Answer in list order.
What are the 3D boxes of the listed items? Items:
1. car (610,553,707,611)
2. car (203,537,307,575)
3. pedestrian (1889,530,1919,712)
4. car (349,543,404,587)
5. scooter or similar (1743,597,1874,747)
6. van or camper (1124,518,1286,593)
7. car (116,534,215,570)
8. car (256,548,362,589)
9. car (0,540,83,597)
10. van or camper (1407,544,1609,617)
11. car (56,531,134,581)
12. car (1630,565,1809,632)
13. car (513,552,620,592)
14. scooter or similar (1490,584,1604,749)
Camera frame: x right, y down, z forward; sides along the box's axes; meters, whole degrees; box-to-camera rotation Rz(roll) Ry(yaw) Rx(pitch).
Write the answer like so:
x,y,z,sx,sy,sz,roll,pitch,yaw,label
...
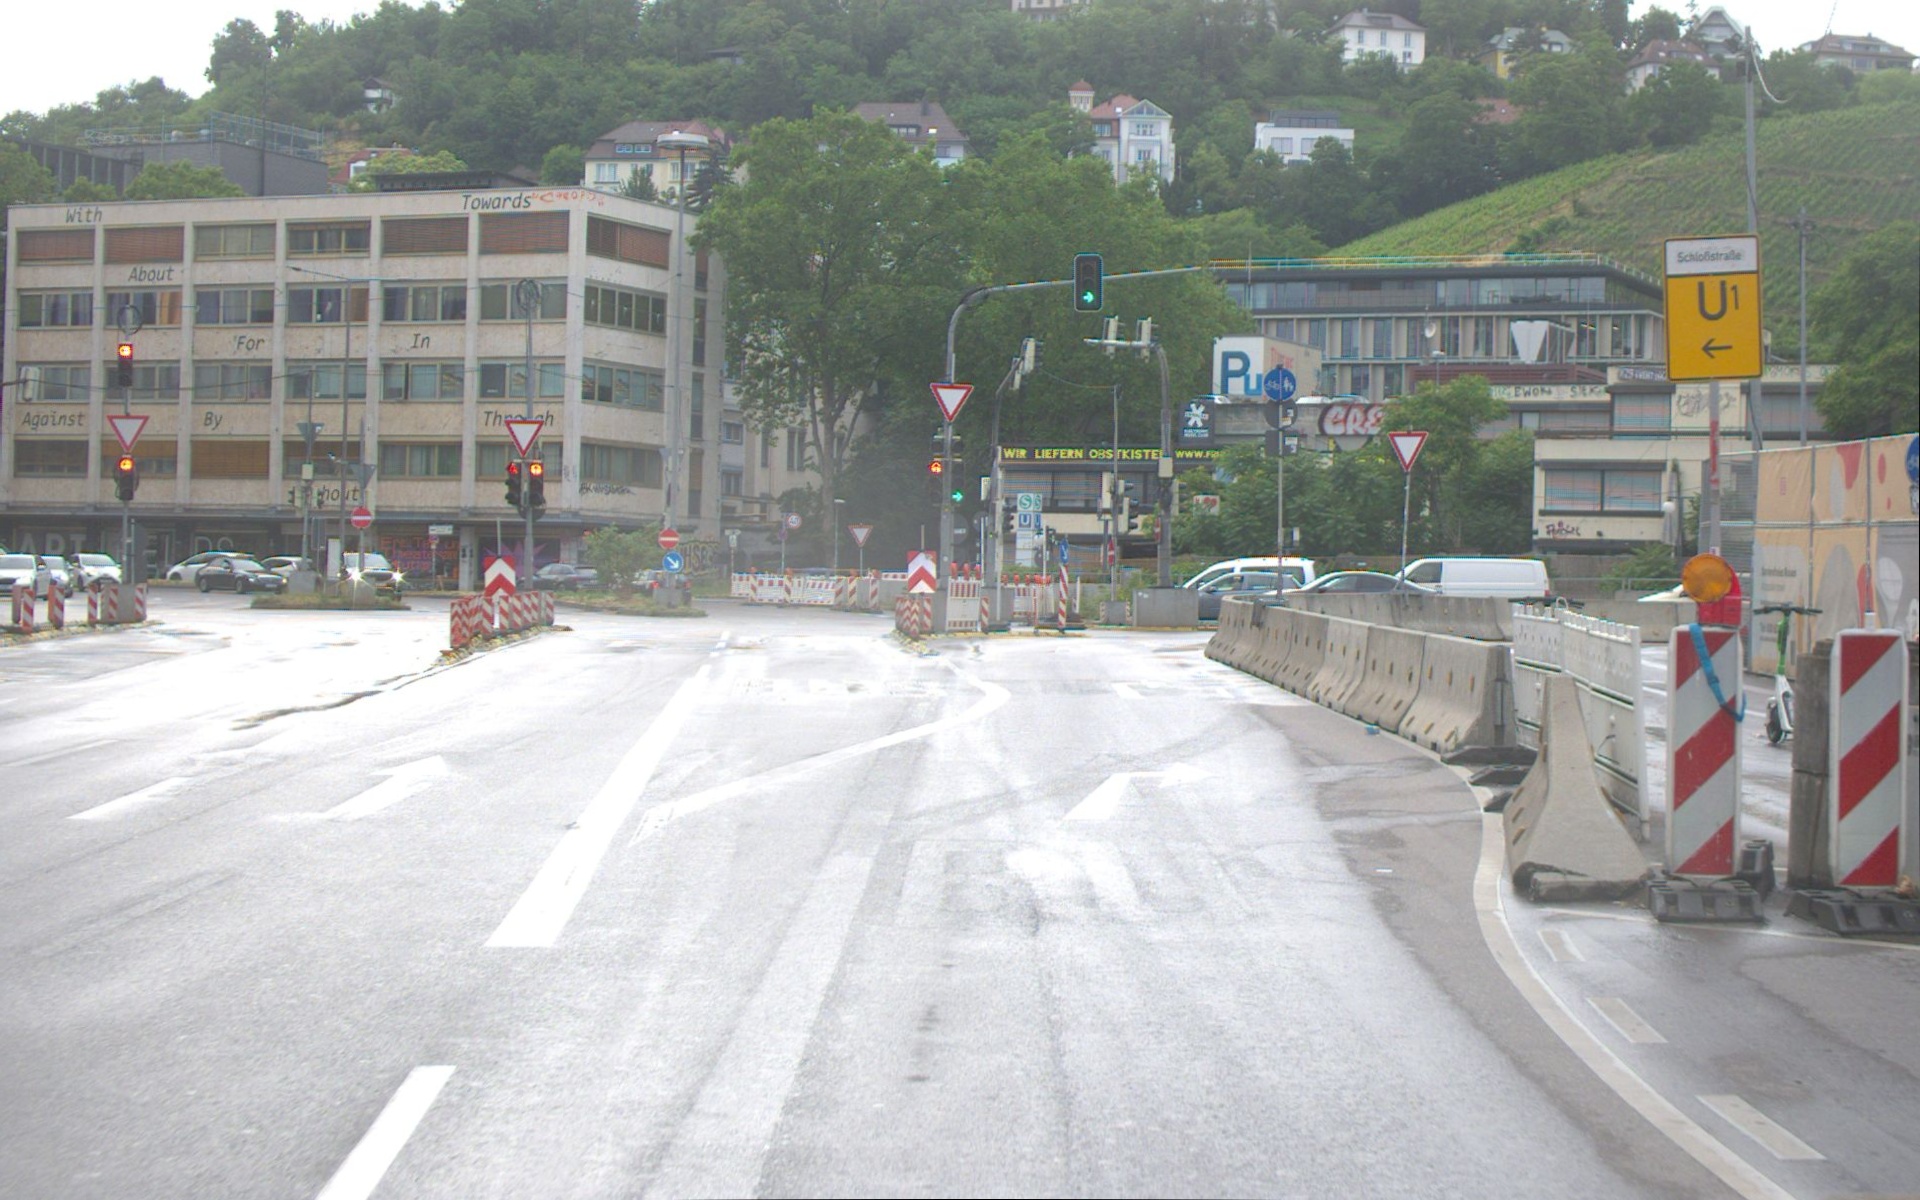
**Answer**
x,y,z,sx,sy,sz,roll,pitch,yaw,label
-10.967,-0.666,124.762,1.993,2.007,4.001,1,1,-30,car
-29.767,-1.870,145.142,4.070,1.486,1.733,2,1,26,car
10.121,0.215,35.615,0.719,1.860,0.709,1,1,-3,pedestrian
-20.576,-1.259,121.101,1.830,1.481,4.001,1,1,-10,car
6.985,0.580,28.368,0.467,1.179,1.415,1,1,-11,scooter or similar
6.765,-1.233,95.246,4.241,1.972,1.851,1,1,-3,van or camper
-35.373,-2.134,153.077,4.070,1.486,1.733,2,1,25,car
-25.118,-1.212,132.579,3.996,1.481,1.832,2,1,39,car
-29.215,-0.991,108.100,2.222,1.747,4.813,1,0,-3,car
15.170,-0.553,95.280,5.195,1.887,1.888,1,1,-3,van or camper
-33.163,-1.680,131.757,1.800,1.809,4.000,1,1,-31,car
20.303,-0.049,92.013,4.366,1.668,1.848,1,1,2,car
-15.660,-1.114,136.836,4.072,1.486,1.732,2,1,34,car
4.531,0.497,26.627,0.675,1.210,1.571,1,1,3,scooter or similar
